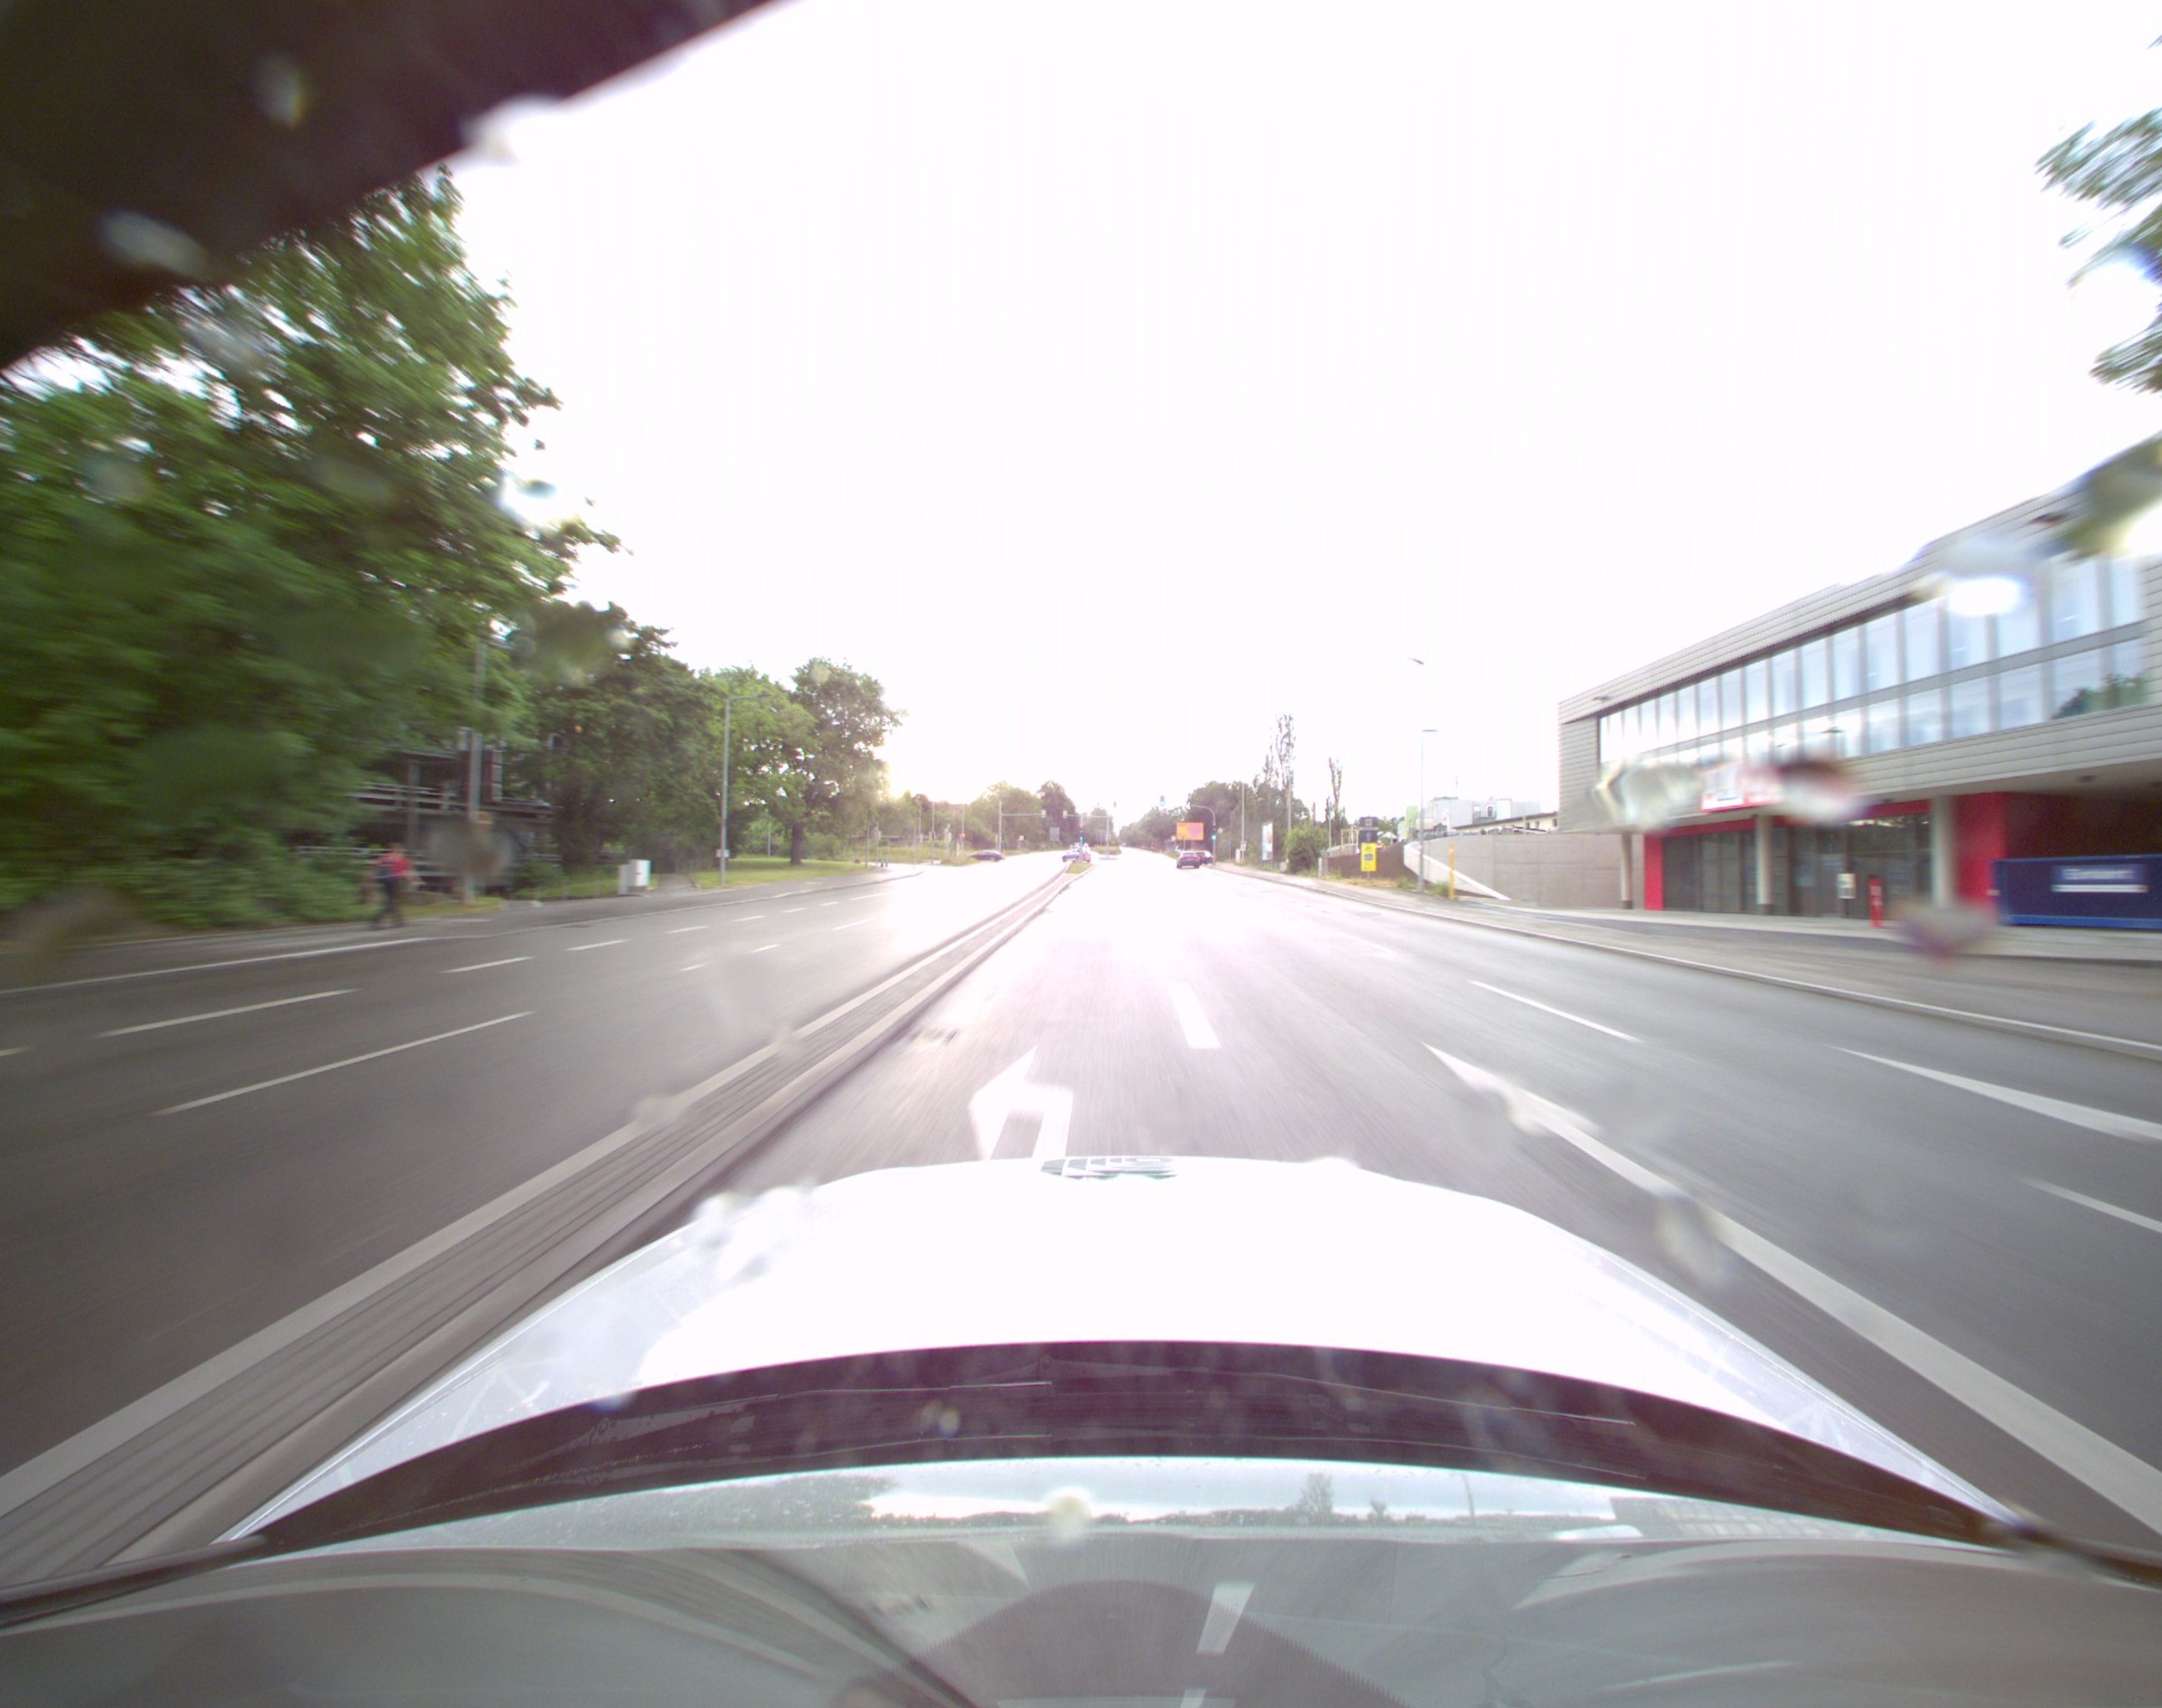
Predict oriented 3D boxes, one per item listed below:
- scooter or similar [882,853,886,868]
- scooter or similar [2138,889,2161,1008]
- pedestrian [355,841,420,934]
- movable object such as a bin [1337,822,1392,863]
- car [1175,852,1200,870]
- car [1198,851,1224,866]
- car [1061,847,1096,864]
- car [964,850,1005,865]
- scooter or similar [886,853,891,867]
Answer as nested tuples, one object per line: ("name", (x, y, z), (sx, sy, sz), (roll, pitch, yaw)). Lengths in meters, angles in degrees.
("scooter or similar", (-16.630, 0.547, 68.762), (0.311, 1.218, 1.303), (1, 1, -11))
("scooter or similar", (10.349, 0.910, 7.393), (0.253, 1.129, 1.285), (1, 0, 20))
("pedestrian", (-13.869, 0.655, 16.311), (0.516, 1.816, 0.802), (1, 0, 13))
("movable object such as a bin", (23.479, -0.956, 67.635), (2.298, 3.276, 5.415), (1, 1, -5))
("car", (9.265, 0.588, 70.937), (1.738, 1.470, 4.168), (1, 0, 2))
("car", (13.227, 0.475, 82.836), (1.730, 1.470, 4.187), (1, 0, 21))
("car", (-0.337, 0.172, 93.240), (2.090, 1.718, 4.156), (3, -2, -32))
("car", (-11.641, 0.433, 98.511), (4.638, 1.583, 2.171), (2, -1, -3))
("scooter or similar", (-16.650, 0.522, 70.459), (0.311, 1.218, 1.303), (1, 1, -11))
